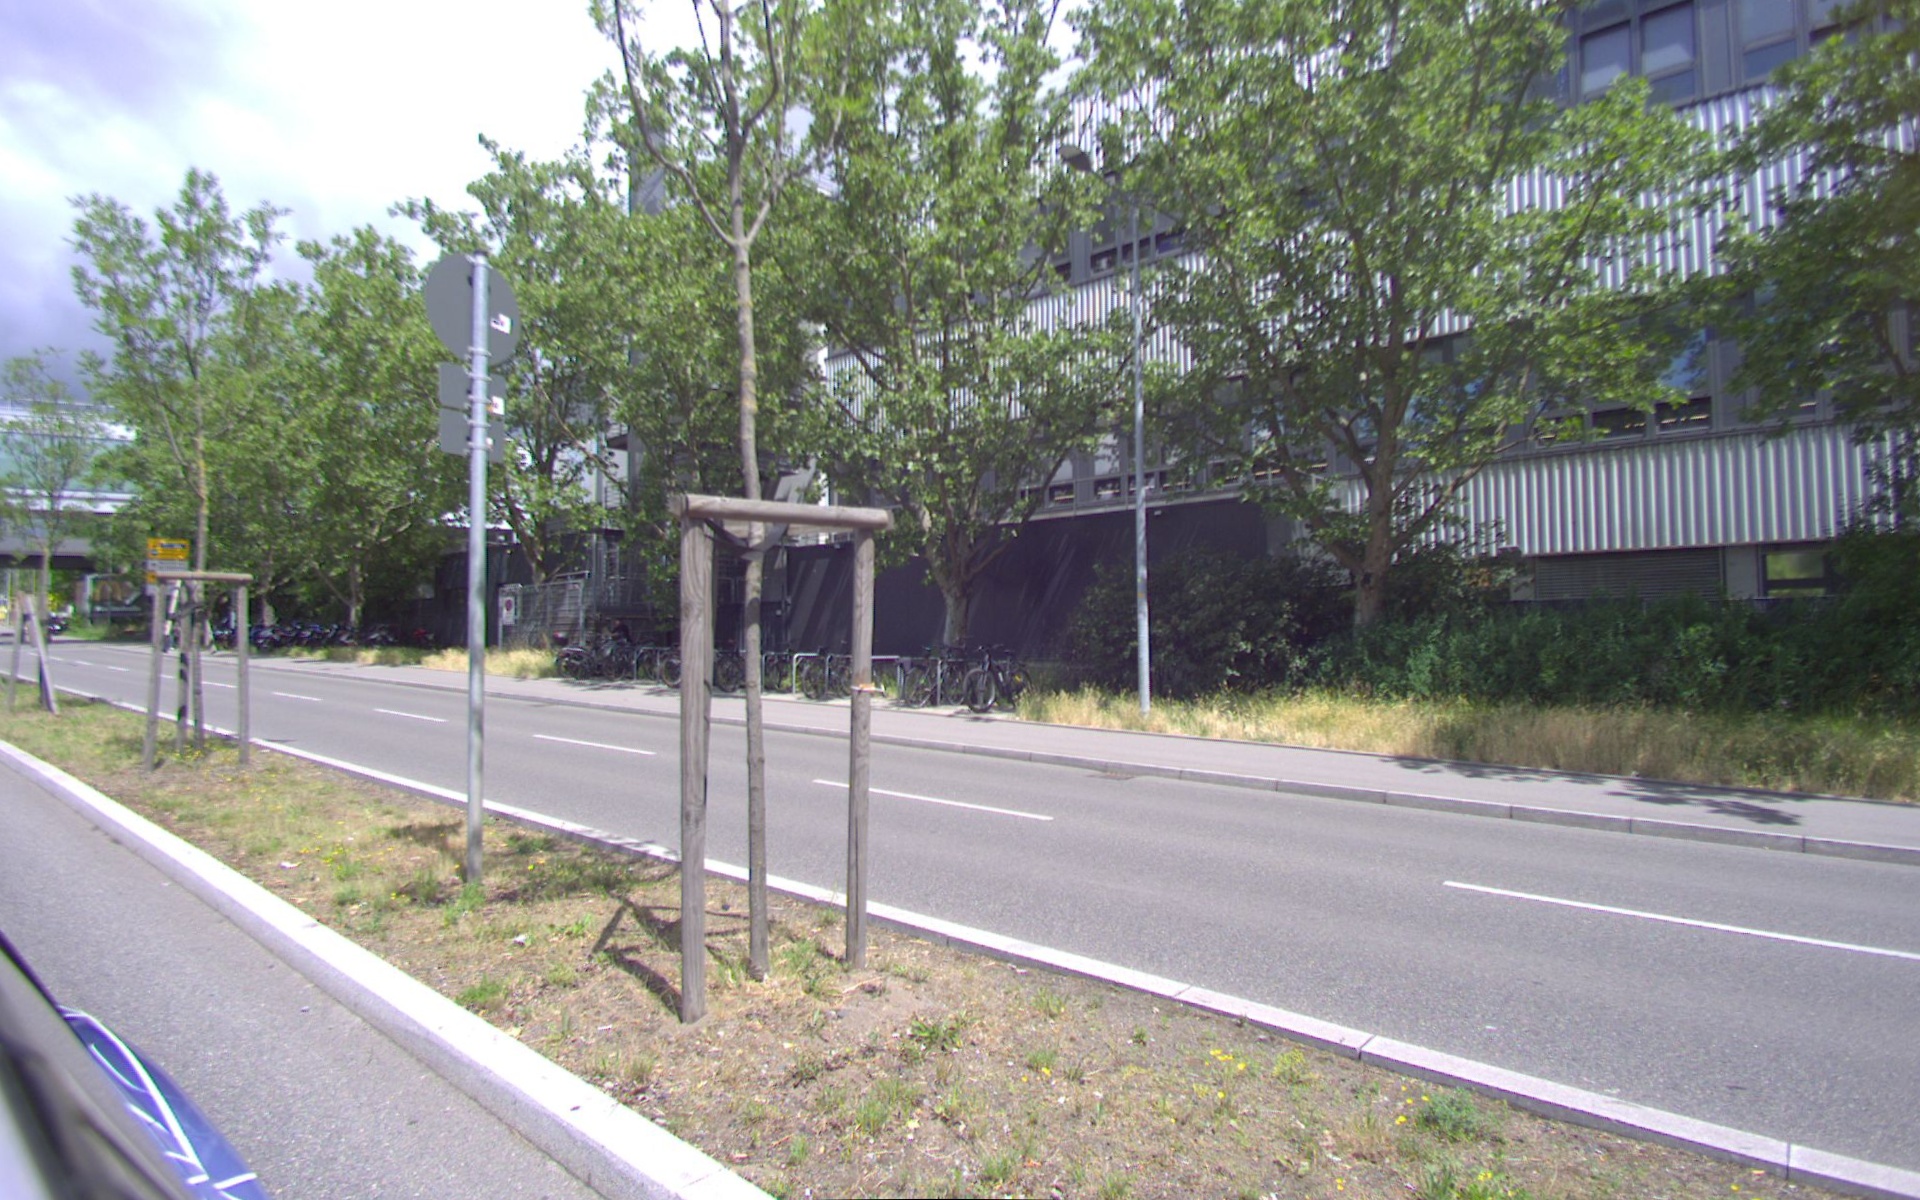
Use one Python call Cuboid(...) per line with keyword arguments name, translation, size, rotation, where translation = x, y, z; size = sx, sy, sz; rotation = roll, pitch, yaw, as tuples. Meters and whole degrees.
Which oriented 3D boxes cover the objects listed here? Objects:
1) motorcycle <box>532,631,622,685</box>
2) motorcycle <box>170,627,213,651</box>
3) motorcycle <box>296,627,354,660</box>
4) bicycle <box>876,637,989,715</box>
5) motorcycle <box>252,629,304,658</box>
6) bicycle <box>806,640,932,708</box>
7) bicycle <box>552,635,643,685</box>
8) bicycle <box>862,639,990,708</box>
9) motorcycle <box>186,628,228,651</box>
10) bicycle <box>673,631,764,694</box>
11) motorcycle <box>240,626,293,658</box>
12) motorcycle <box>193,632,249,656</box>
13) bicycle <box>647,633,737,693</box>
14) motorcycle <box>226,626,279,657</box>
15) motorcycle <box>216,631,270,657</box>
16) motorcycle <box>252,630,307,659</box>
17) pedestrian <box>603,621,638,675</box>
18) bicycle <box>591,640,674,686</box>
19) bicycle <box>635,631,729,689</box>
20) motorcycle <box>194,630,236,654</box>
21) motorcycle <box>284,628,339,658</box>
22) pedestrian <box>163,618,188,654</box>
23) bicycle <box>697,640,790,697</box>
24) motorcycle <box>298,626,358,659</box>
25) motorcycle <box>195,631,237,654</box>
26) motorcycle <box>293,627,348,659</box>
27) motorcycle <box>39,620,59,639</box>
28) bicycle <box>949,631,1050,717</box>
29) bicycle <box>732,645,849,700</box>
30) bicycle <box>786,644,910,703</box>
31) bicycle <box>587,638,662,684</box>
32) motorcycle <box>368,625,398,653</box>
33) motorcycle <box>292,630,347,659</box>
Cuboid(name="motorcycle", translation=(-9.943, 1.475, 26.343), size=(0.805, 1.319, 2.113), rotation=(-1, -1, 38))
Cuboid(name="motorcycle", translation=(-40.885, 2.081, 53.859), size=(1.721, 1.180, 0.777), rotation=(-2, -1, -42))
Cuboid(name="motorcycle", translation=(-25.691, 1.747, 40.951), size=(1.855, 1.195, 0.730), rotation=(-2, 0, -42))
Cuboid(name="bicycle", translation=(-0.459, 1.315, 18.155), size=(0.555, 1.267, 2.379), rotation=(-2, -2, 42))
Cuboid(name="motorcycle", translation=(-30.254, 1.906, 44.909), size=(1.853, 1.188, 0.817), rotation=(-2, -1, -35))
Cuboid(name="bicycle", translation=(-1.739, 1.404, 19.691), size=(2.533, 1.166, 0.645), rotation=(0, -1, -40))
Cuboid(name="bicycle", translation=(-9.286, 1.508, 25.985), size=(0.805, 1.189, 2.113), rotation=(-1, -1, 38))
Cuboid(name="bicycle", translation=(-0.620, 1.365, 19.299), size=(2.533, 1.166, 0.727), rotation=(0, -1, -40))
Cuboid(name="motorcycle", translation=(-39.187, 2.049, 52.681), size=(0.773, 1.131, 1.579), rotation=(-3, -1, 31))
Cuboid(name="bicycle", translation=(-5.376, 1.364, 22.582), size=(0.805, 1.292, 1.899), rotation=(-1, -1, 38))
Cuboid(name="motorcycle", translation=(-31.378, 1.890, 45.819), size=(1.905, 1.354, 0.867), rotation=(-2, -1, -29))
Cuboid(name="motorcycle", translation=(-35.834, 2.132, 49.102), size=(0.917, 1.124, 1.919), rotation=(0, -3, 28))
Cuboid(name="bicycle", translation=(-6.123, 1.412, 23.180), size=(0.805, 1.292, 1.899), rotation=(-1, -1, 38))
Cuboid(name="motorcycle", translation=(-33.023, 1.925, 47.255), size=(1.905, 1.300, 0.895), rotation=(-2, -1, -29))
Cuboid(name="motorcycle", translation=(-34.242, 2.073, 48.367), size=(1.904, 1.124, 0.924), rotation=(-2, -1, -23))
Cuboid(name="motorcycle", translation=(-29.478, 1.921, 43.861), size=(1.855, 1.188, 0.816), rotation=(-2, -1, -41))
Cuboid(name="pedestrian", translation=(-10.123, 1.411, 30.134), size=(0.744, 1.563, 0.822), rotation=(0, -1, -40))
Cuboid(name="bicycle", translation=(-8.189, 1.557, 25.402), size=(0.497, 1.070, 2.060), rotation=(-1, -1, 38))
Cuboid(name="bicycle", translation=(-6.671, 1.420, 24.381), size=(0.805, 1.292, 2.113), rotation=(-1, -1, 38))
Cuboid(name="motorcycle", translation=(-38.153, 2.156, 51.836), size=(0.776, 1.131, 1.574), rotation=(-3, -1, 41))
Cuboid(name="motorcycle", translation=(-27.866, 1.861, 43.523), size=(0.698, 1.188, 1.857), rotation=(-3, -1, 43))
Cuboid(name="pedestrian", translation=(-37.159, 1.690, 47.938), size=(0.812, 1.624, 0.760), rotation=(-1, 1, 39))
Cuboid(name="bicycle", translation=(-4.661, 1.449, 21.893), size=(0.805, 1.131, 1.899), rotation=(-1, -1, 38))
Cuboid(name="motorcycle", translation=(-24.537, 1.656, 39.312), size=(1.855, 1.182, 0.746), rotation=(-2, -1, -41))
Cuboid(name="motorcycle", translation=(-37.287, 2.127, 50.733), size=(0.776, 1.041, 1.574), rotation=(-3, -1, 41))
Cuboid(name="motorcycle", translation=(-27.016, 1.813, 42.768), size=(0.655, 1.219, 1.857), rotation=(-3, -1, 43))
Cuboid(name="motorcycle", translation=(-63.041, 2.035, 70.023), size=(2.255, 1.207, 0.633), rotation=(0, 1, 39))
Cuboid(name="bicycle", translation=(0.719, 1.244, 17.506), size=(0.489, 1.374, 2.144), rotation=(-2, -2, 42))
Cuboid(name="bicycle", translation=(-3.563, 1.507, 21.647), size=(0.848, 1.014, 2.814), rotation=(-1, -1, 31))
Cuboid(name="bicycle", translation=(-2.217, 1.442, 20.344), size=(2.532, 1.104, 0.697), rotation=(2, -3, -40))
Cuboid(name="bicycle", translation=(-8.512, 1.532, 25.748), size=(0.422, 1.083, 1.905), rotation=(-1, -1, 38))
Cuboid(name="motorcycle", translation=(-26.358, 1.793, 46.185), size=(1.983, 1.219, 0.645), rotation=(-3, -1, 45))
Cuboid(name="motorcycle", translation=(-26.456, 1.836, 41.803), size=(1.853, 1.093, 0.796), rotation=(-2, -1, -35))
